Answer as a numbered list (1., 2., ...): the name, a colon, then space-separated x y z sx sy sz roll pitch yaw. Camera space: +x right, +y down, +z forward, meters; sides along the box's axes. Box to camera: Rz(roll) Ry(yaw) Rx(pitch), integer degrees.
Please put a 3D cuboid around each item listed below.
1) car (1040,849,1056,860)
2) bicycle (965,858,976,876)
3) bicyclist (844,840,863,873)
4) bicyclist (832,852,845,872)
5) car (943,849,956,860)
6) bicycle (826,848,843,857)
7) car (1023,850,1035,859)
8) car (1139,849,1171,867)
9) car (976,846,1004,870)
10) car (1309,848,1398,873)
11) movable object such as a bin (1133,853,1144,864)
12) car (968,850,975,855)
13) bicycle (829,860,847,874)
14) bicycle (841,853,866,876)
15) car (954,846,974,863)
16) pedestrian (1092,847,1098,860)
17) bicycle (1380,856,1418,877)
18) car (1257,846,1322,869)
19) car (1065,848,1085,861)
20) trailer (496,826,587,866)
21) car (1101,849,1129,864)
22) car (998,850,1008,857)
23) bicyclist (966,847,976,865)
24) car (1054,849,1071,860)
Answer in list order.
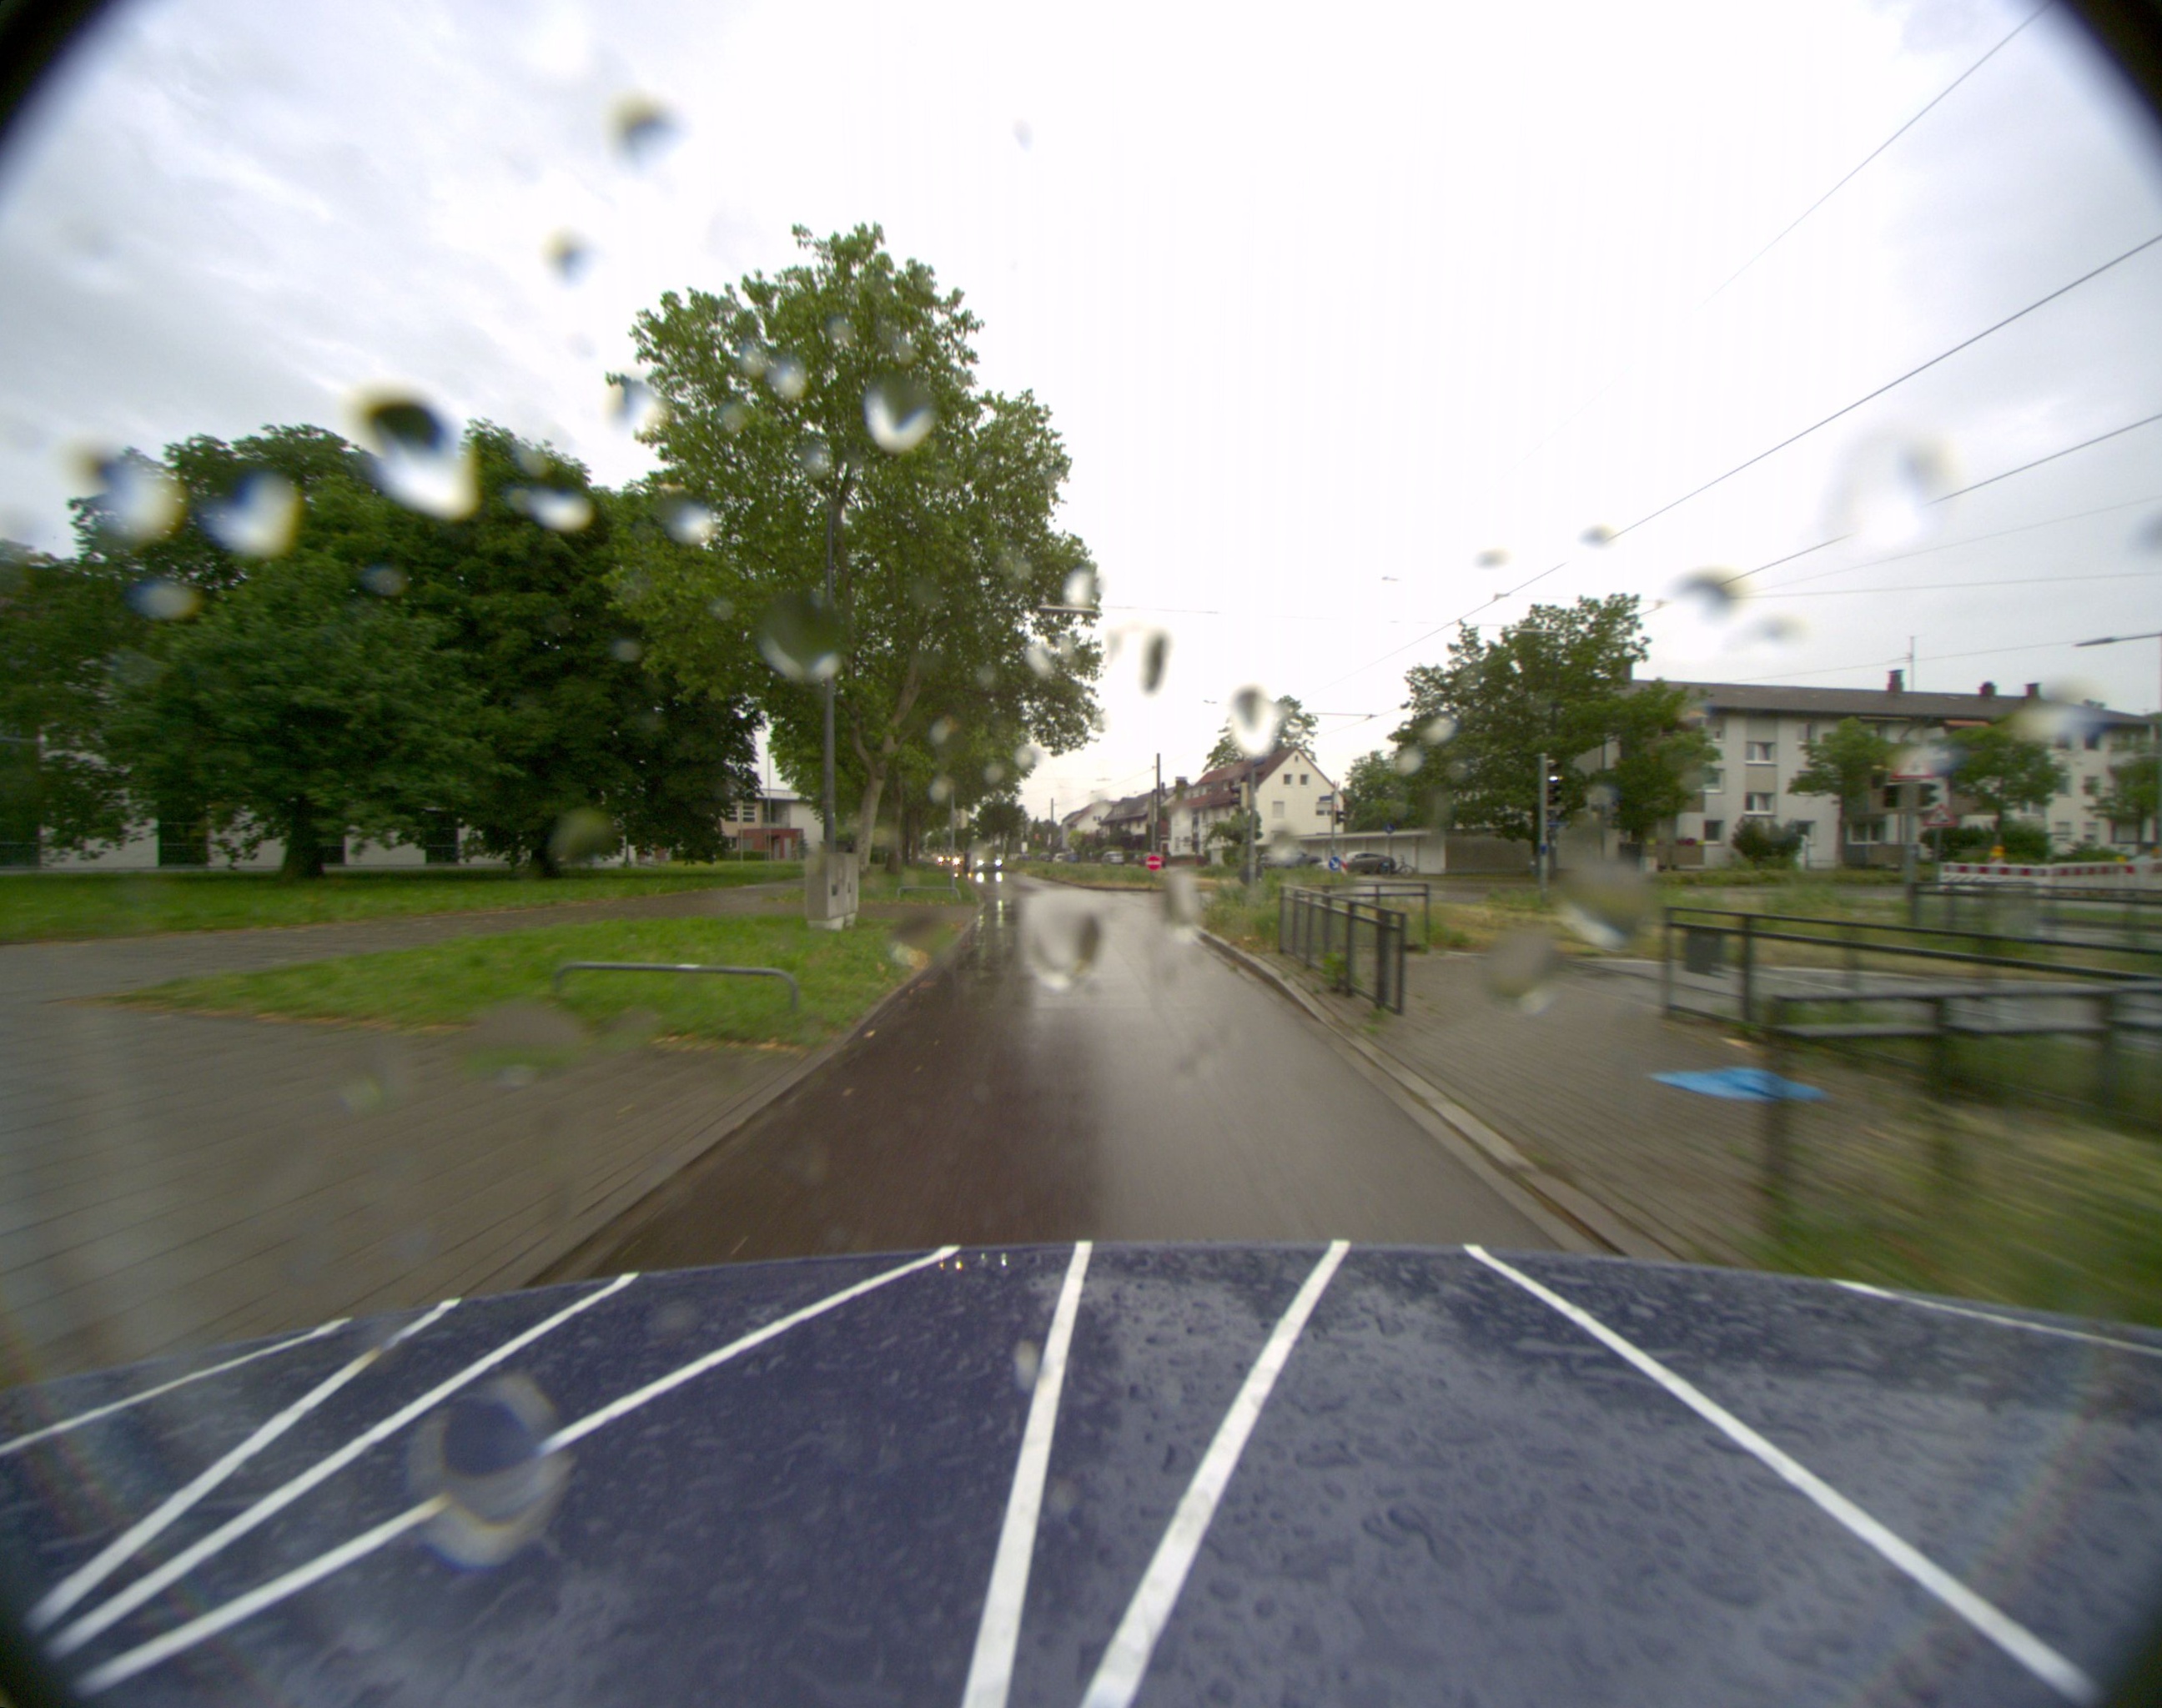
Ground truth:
1. car: -5.459 0.054 125.286 1.760 1.604 4.106 -3 1 -12
2. bicycle: -6.731 0.787 46.362 0.659 1.008 2.255 0 1 -9
3. bicyclist: -11.799 0.133 39.459 0.713 1.711 0.957 0 1 -1
4. bicyclist: -12.722 0.404 39.849 0.488 1.032 0.591 0 1 -1
5. car: -20.641 0.083 119.261 1.769 1.715 3.928 0 1 -14
6. bicycle: -28.914 -0.164 89.185 0.520 1.115 1.942 3 1 31
7. car: -9.766 0.091 142.334 1.760 1.507 3.850 -3 1 -12
8. car: 6.882 0.321 70.913 1.848 1.538 3.968 -3 1 -11
9. car: -7.058 0.274 58.756 1.769 1.715 3.930 -2 0 -11
10. car: 16.309 0.390 45.614 4.741 1.357 1.846 -1 1 -9
11. movable object such as a bin: 7.075 0.529 93.500 1.188 1.290 0.738 -2 1 -11
12. car: -33.650 -0.569 232.899 1.760 1.507 3.850 -3 1 -12
13. bicycle: -12.722 0.685 39.853 0.488 0.704 1.457 0 1 0
14. bicycle: -11.803 0.522 39.489 0.713 1.136 1.972 0 0 -1
15. car: -12.243 0.021 79.336 1.769 1.715 3.929 -1 1 -13
16. pedestrian: 1.971 -0.069 104.523 0.600 1.757 0.868 -2 1 -12
17. bicycle: 16.647 0.651 39.837 0.483 1.013 1.837 -5 2 -36
18. car: 14.730 0.248 53.701 4.001 1.567 1.890 0 1 -13
19. car: -0.899 0.030 106.425 1.851 1.696 4.177 -2 1 -13
20. trailer: -32.083 -0.448 45.258 1.886 2.295 4.029 1 1 39
21. car: 3.731 0.229 84.052 2.000 1.604 4.679 -2 1 -11
22. car: -17.997 -0.148 174.968 1.760 1.507 3.850 -3 1 -12
23. bicyclist: -6.721 0.138 46.298 0.622 1.078 0.624 0 1 -9
24. car: -2.743 0.098 113.585 1.719 1.520 3.597 -3 1 -13
